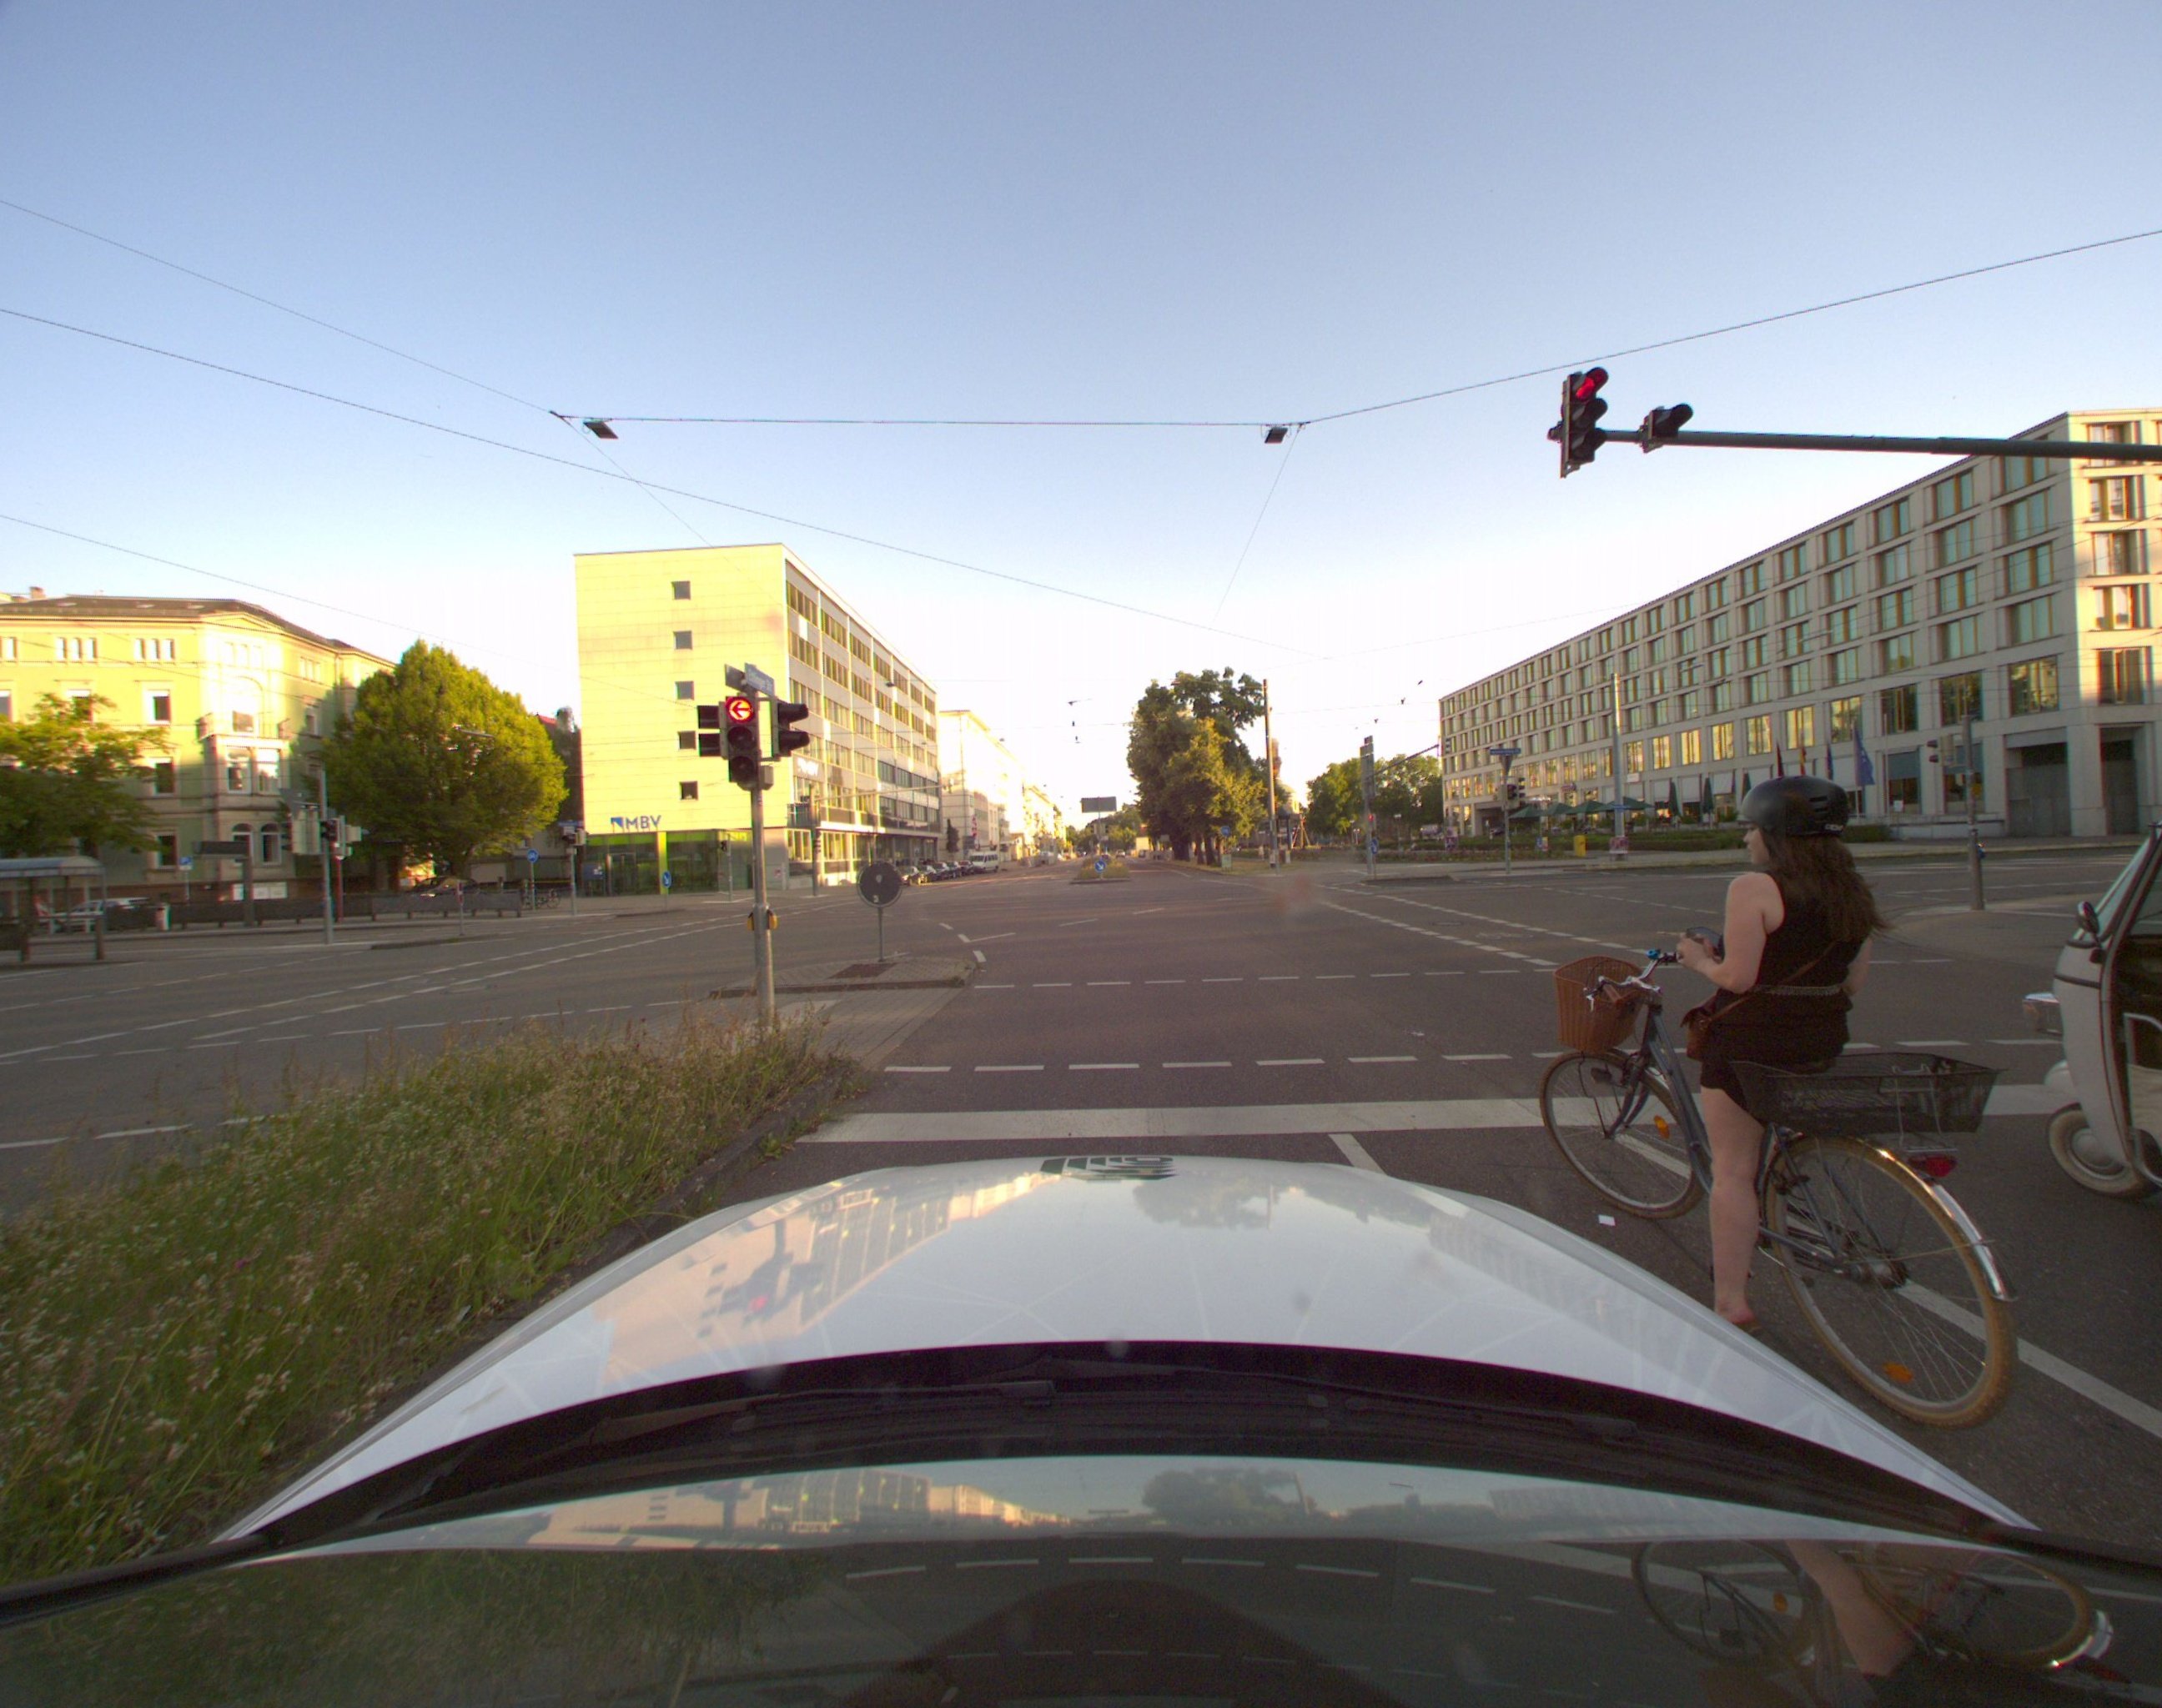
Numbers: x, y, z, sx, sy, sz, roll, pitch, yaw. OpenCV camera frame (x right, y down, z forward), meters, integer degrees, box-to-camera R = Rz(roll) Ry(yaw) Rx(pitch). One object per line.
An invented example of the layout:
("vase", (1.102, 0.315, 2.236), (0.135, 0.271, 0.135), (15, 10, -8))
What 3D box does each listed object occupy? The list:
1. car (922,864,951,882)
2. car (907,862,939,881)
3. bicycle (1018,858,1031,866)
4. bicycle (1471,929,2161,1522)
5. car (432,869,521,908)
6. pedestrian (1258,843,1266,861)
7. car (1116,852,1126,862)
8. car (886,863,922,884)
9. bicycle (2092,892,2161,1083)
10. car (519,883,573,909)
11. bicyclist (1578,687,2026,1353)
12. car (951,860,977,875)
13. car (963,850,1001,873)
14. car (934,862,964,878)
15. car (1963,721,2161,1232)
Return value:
("car", (-13.056, 1.730, 73.763), (1.790, 1.475, 4.000), (-3, -3, 1))
("car", (-13.325, 1.531, 68.839), (1.790, 1.475, 4.000), (-3, -2, 1))
("bicycle", (-8.950, 1.289, 129.189), (1.994, 1.092, 0.324), (-3, 0, -7))
("bicycle", (2.131, 0.900, 2.794), (0.635, 1.069, 2.070), (-2, 0, 2))
("car", (-34.931, 1.939, 47.195), (1.986, 2.013, 4.001), (-3, 0, 1))
("pedestrian", (16.588, -0.193, 74.747), (0.506, 1.668, 0.531), (-3, 0, 1))
("car", (8.275, 0.622, 168.237), (1.986, 2.013, 4.001), (-3, 0, 1))
("car", (-13.515, 1.553, 62.404), (1.790, 1.475, 4.000), (-3, -2, 1))
("bicycle", (7.181, 0.777, 4.488), (1.878, 1.069, 0.735), (-1, 0, 36))
("car", (-25.799, 2.018, 39.365), (0.850, 1.073, 2.522), (-3, 0, 1))
("bicyclist", (2.092, 0.429, 2.481), (0.626, 1.693, 0.749), (-3, 0, 1))
("car", (-12.216, 1.419, 85.340), (1.787, 1.475, 4.005), (-3, -2, 5))
("car", (-11.113, 0.868, 91.916), (2.161, 2.385, 6.010), (-3, -2, 13))
("car", (-12.765, 1.579, 78.946), (1.787, 1.475, 4.006), (-3, -2, 6))
("car", (4.419, 0.420, 2.164), (1.453, 1.780, 2.568), (-2, 1, 4))
